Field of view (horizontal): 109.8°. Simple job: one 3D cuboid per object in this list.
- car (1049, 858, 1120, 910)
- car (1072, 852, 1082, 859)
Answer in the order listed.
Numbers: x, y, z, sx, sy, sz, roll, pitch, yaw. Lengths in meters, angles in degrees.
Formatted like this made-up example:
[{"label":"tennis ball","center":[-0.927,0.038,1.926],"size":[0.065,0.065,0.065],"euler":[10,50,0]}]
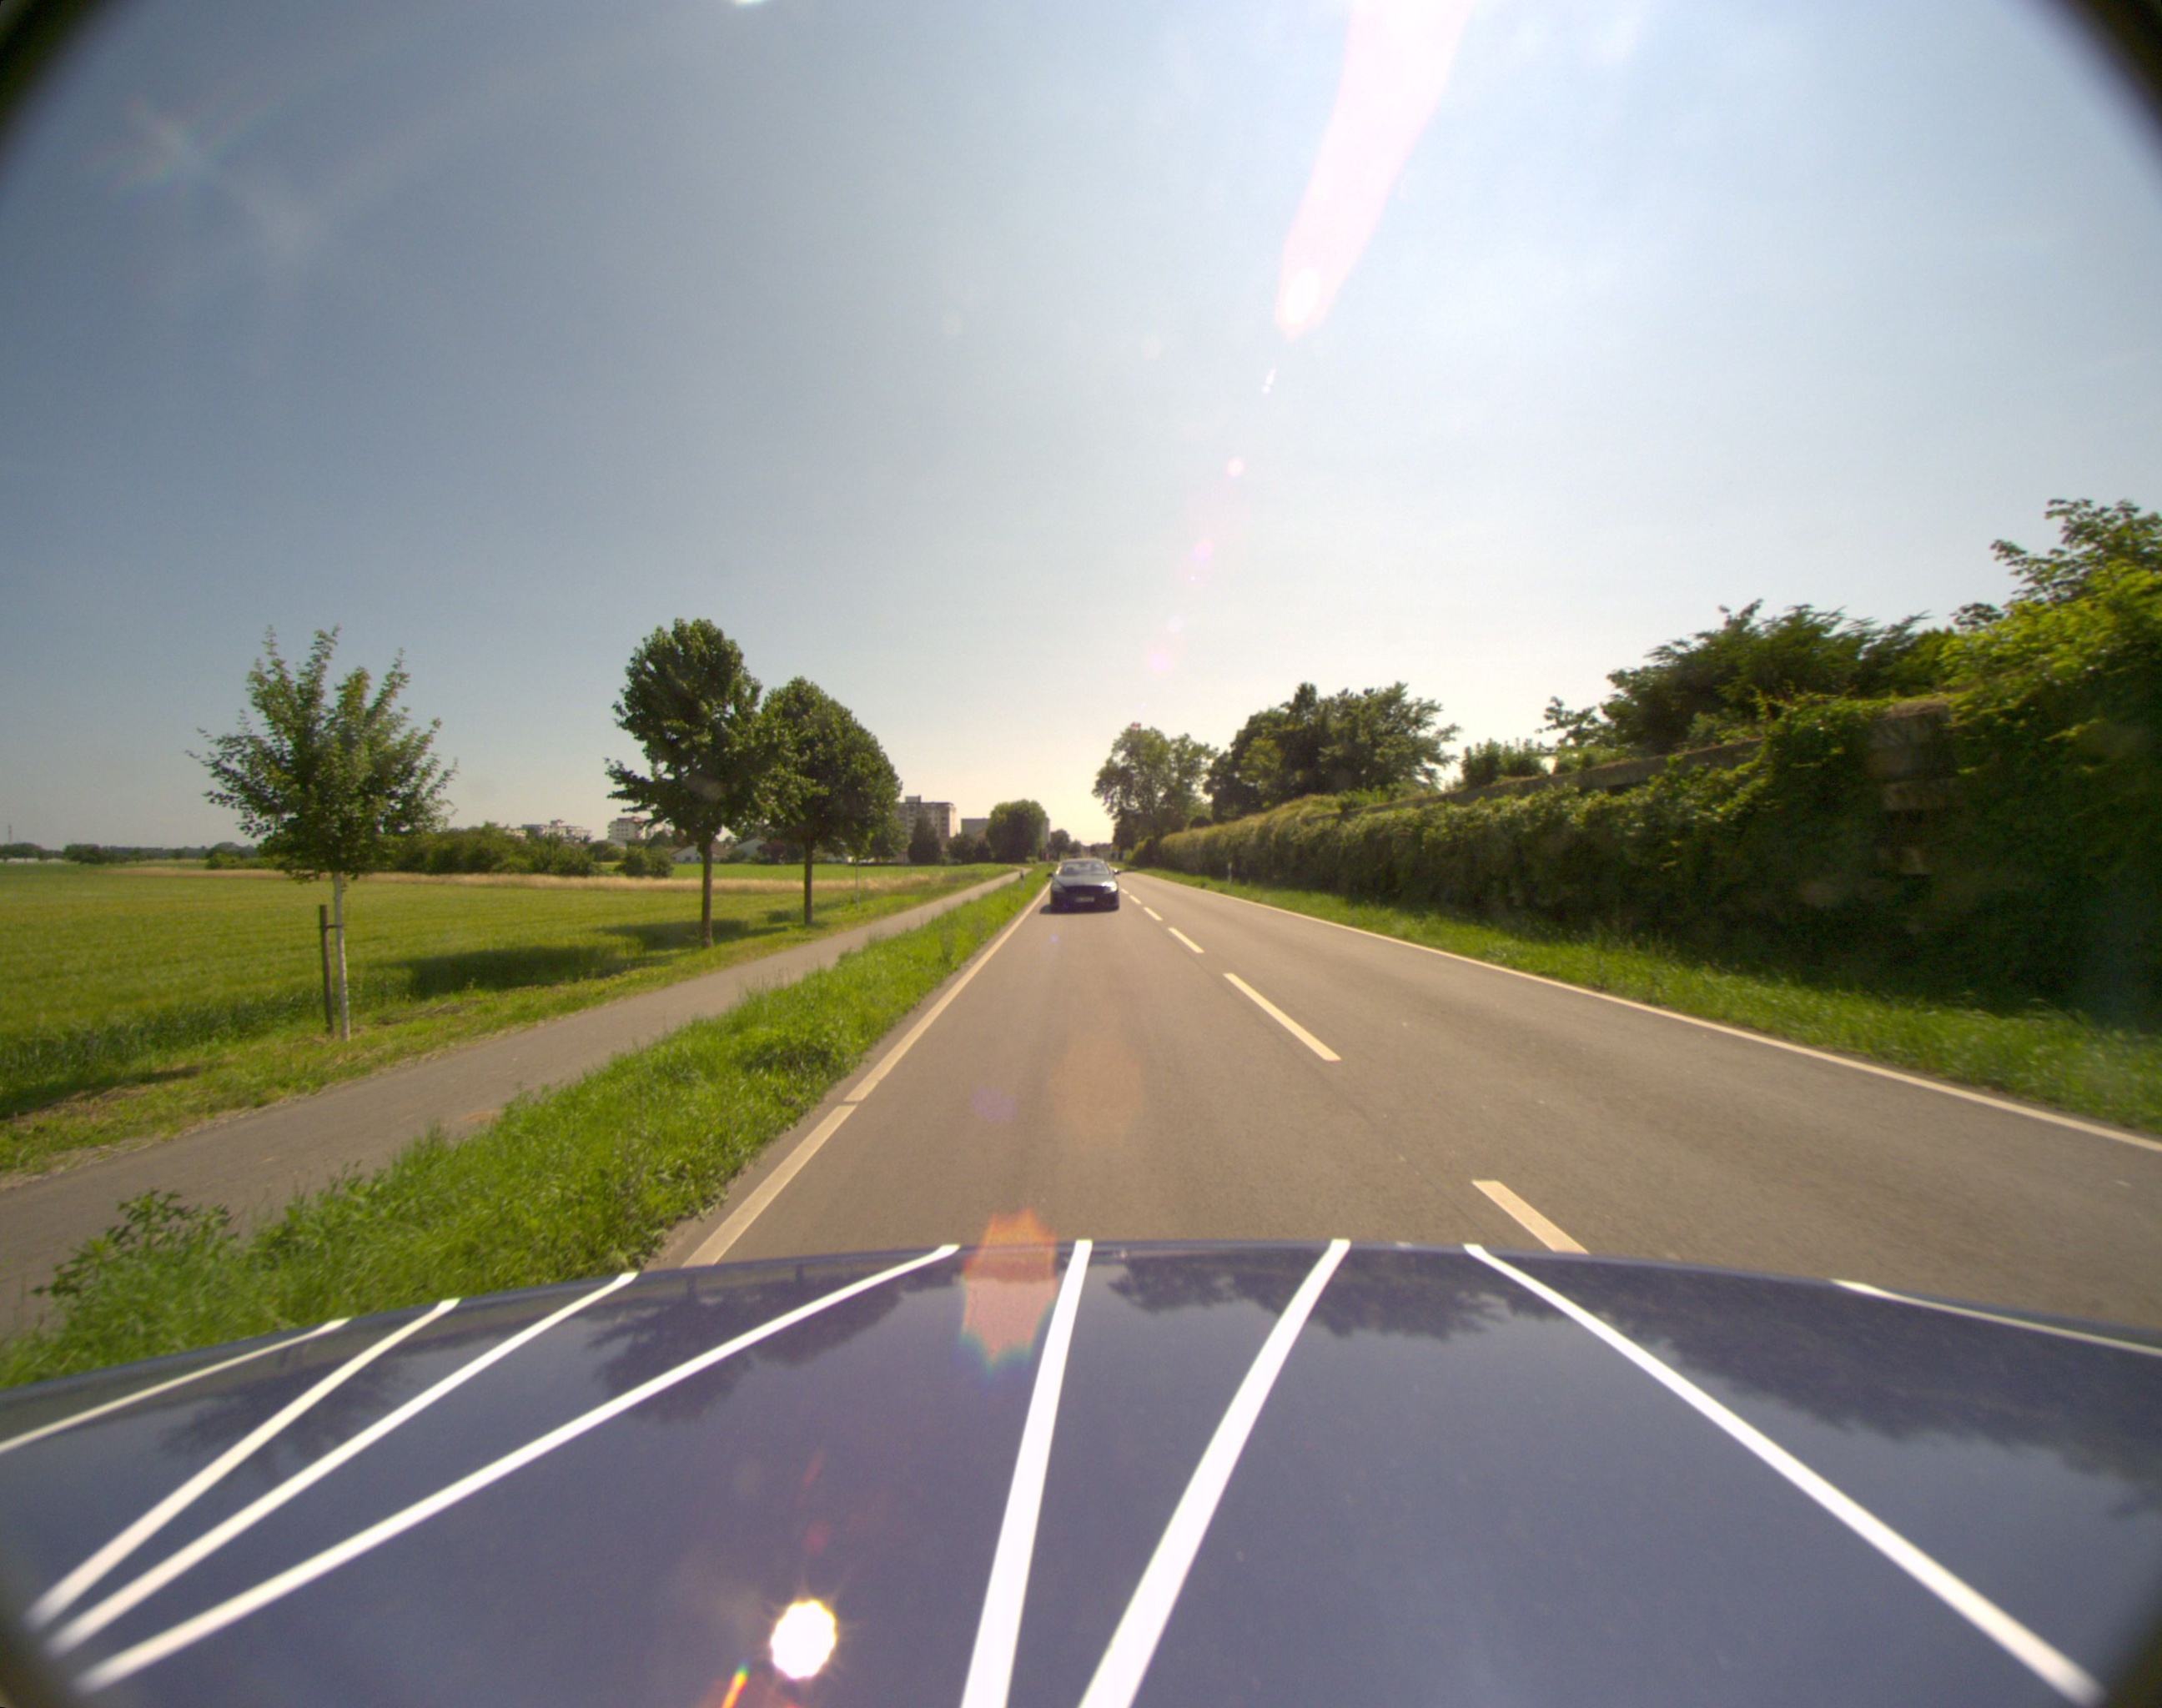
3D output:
[{"label":"car","center":[0.005,0.857,23.999],"size":[1.889,1.429,4.837],"euler":[-1,0,-3]},{"label":"car","center":[-1.218,0.305,215.876],"size":[2.151,1.940,5.243],"euler":[1,0,-9]}]
